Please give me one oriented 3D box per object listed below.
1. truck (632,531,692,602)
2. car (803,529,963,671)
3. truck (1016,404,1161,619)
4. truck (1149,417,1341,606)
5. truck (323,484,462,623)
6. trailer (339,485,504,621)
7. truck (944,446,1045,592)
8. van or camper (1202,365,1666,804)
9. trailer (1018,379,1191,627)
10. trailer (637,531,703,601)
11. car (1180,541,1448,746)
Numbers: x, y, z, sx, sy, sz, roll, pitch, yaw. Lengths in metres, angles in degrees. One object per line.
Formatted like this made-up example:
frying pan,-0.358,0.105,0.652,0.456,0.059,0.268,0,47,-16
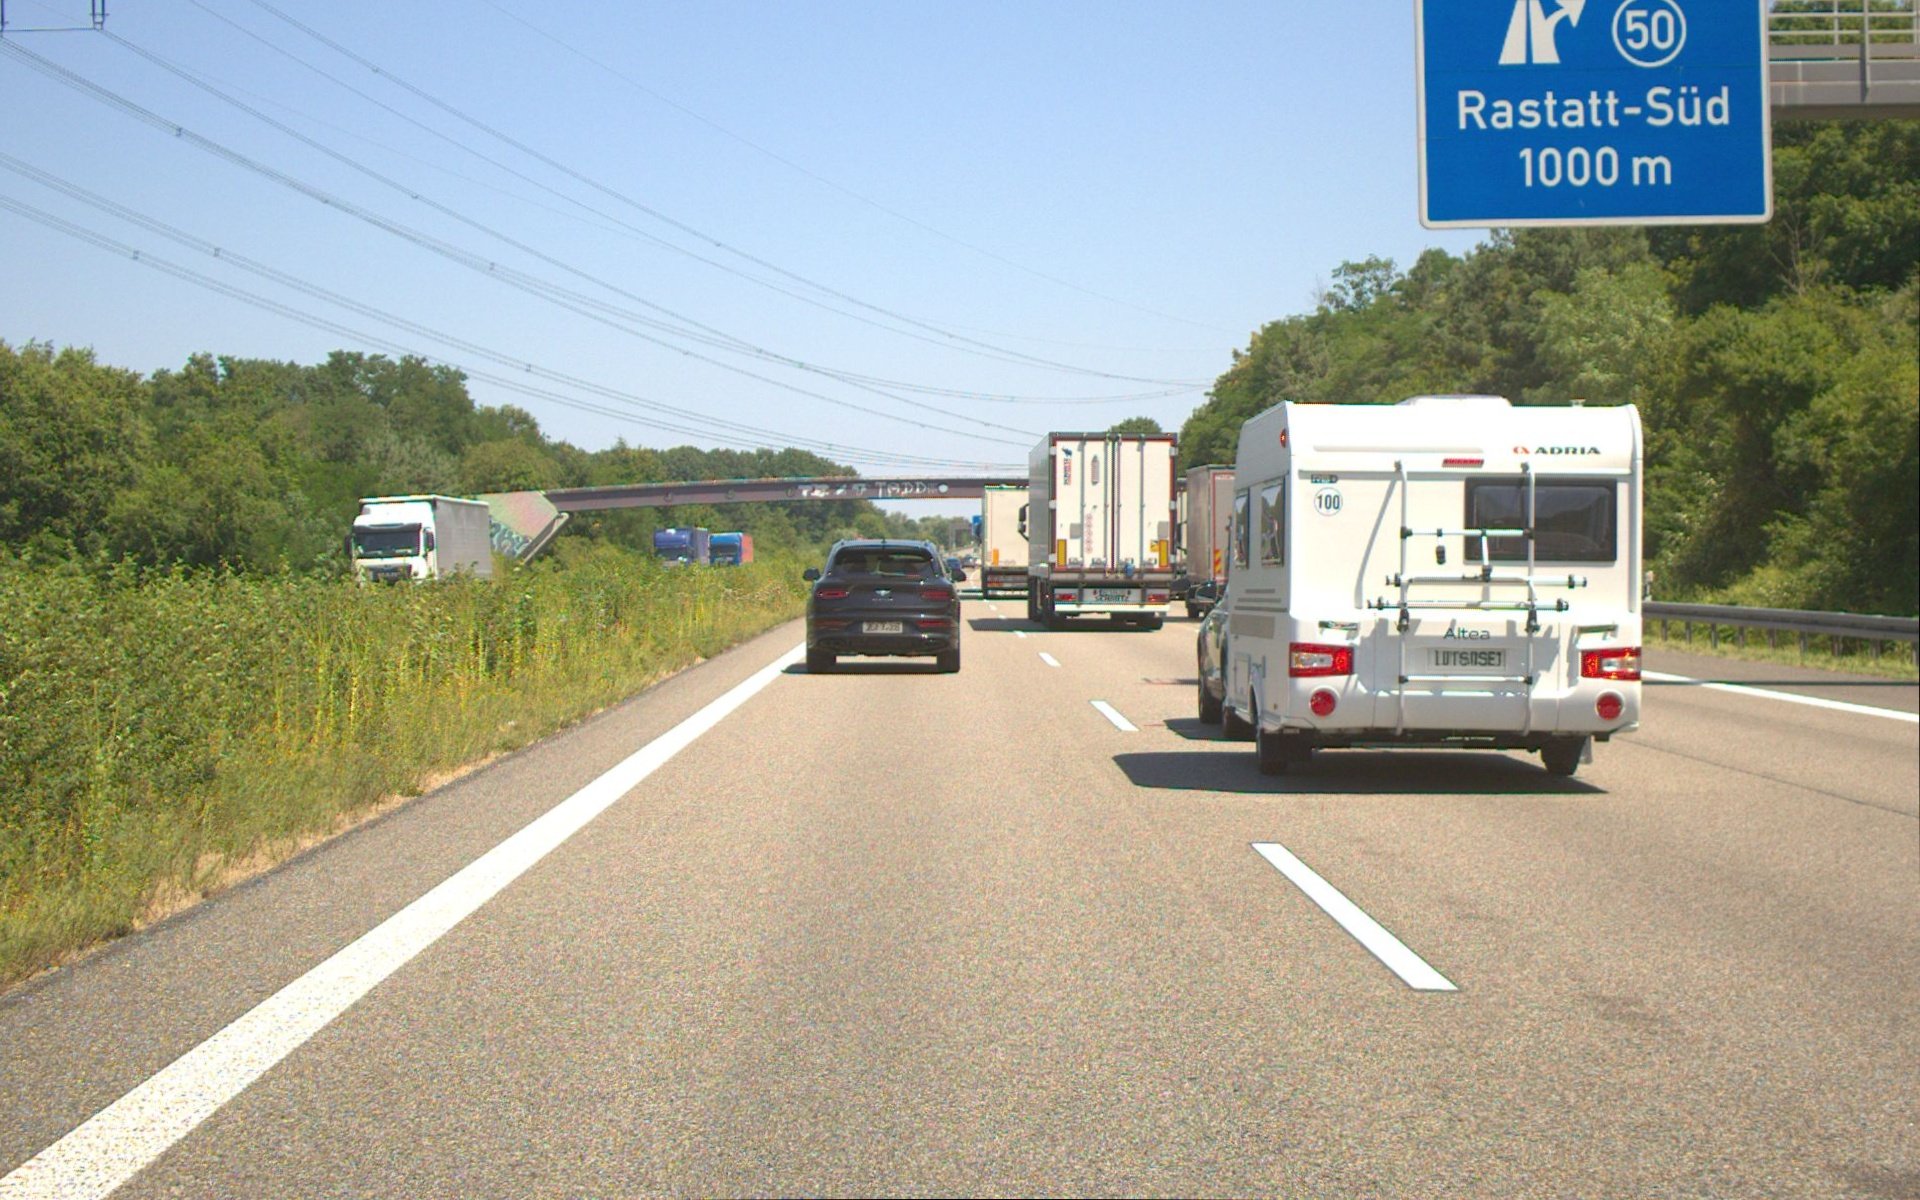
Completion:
truck,-19.376,-2.224,223.764,3.087,4.392,6.801,-3,1,0
car,-1.014,-0.032,45.154,1.993,1.766,4.000,-1,1,-1
truck,2.992,-2.056,82.067,3.087,4.868,6.598,1,0,0
truck,6.796,-2.063,83.958,3.571,4.230,11.652,1,0,0
truck,-18.999,-1.575,115.492,3.368,4.393,6.556,-2,1,0
trailer,-18.977,-1.694,122.236,3.368,4.393,14.321,-3,1,0
truck,1.201,-2.937,127.065,3.512,5.149,10.259,1,1,0
van or camper,3.128,-0.151,24.240,2.439,2.665,6.350,0,1,1
trailer,2.993,-1.991,74.785,3.087,4.868,12.258,1,0,0
trailer,-19.405,-2.347,230.897,3.087,4.392,14.232,-3,1,0
car,2.982,0.310,29.822,1.879,1.607,4.702,1,1,1
